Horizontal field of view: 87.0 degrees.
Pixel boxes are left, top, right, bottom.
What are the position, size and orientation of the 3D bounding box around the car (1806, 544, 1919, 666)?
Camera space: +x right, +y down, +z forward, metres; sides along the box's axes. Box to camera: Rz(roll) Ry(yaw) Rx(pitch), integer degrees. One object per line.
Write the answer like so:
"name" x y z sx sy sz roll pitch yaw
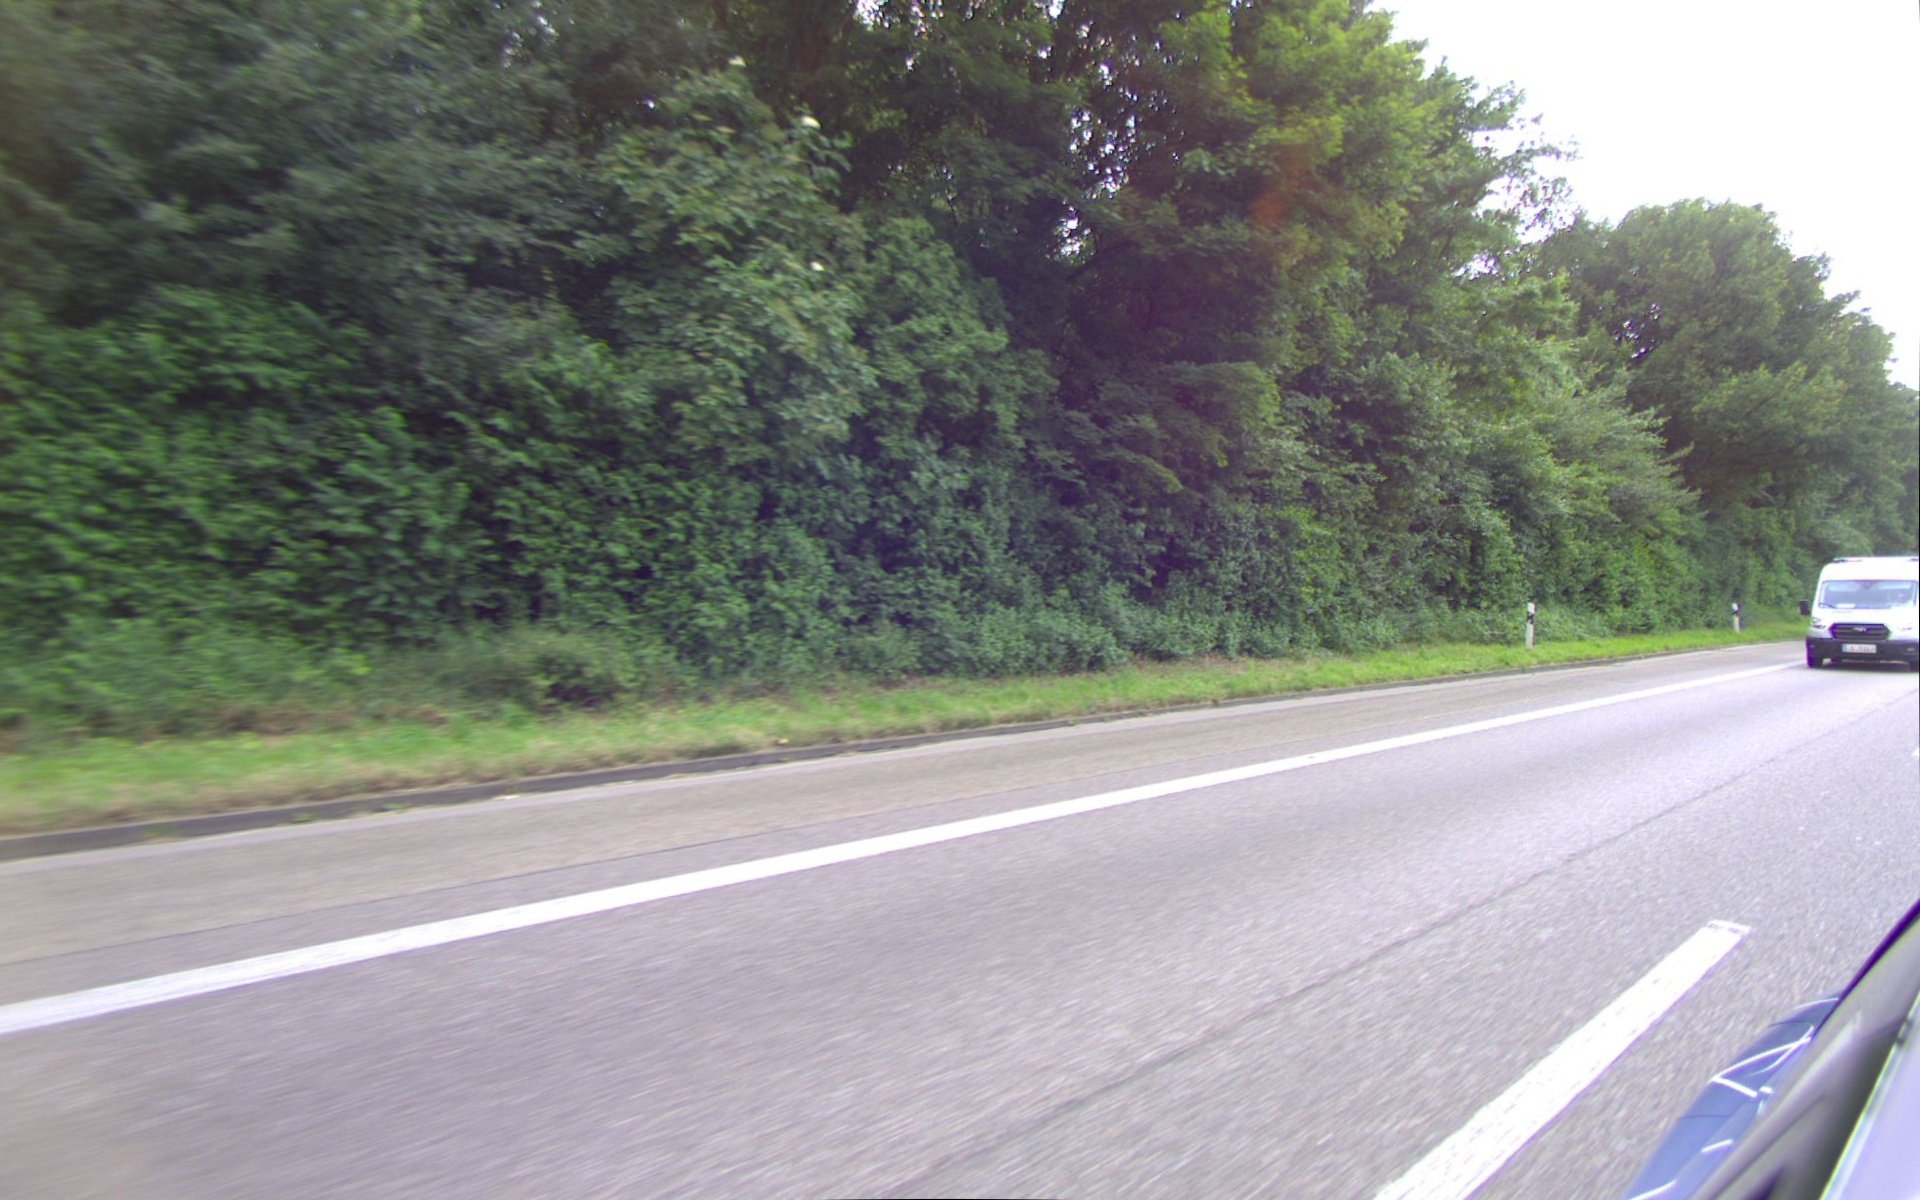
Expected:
"car" 21.442 0.100 23.412 5.187 2.539 2.102 0 0 -41
